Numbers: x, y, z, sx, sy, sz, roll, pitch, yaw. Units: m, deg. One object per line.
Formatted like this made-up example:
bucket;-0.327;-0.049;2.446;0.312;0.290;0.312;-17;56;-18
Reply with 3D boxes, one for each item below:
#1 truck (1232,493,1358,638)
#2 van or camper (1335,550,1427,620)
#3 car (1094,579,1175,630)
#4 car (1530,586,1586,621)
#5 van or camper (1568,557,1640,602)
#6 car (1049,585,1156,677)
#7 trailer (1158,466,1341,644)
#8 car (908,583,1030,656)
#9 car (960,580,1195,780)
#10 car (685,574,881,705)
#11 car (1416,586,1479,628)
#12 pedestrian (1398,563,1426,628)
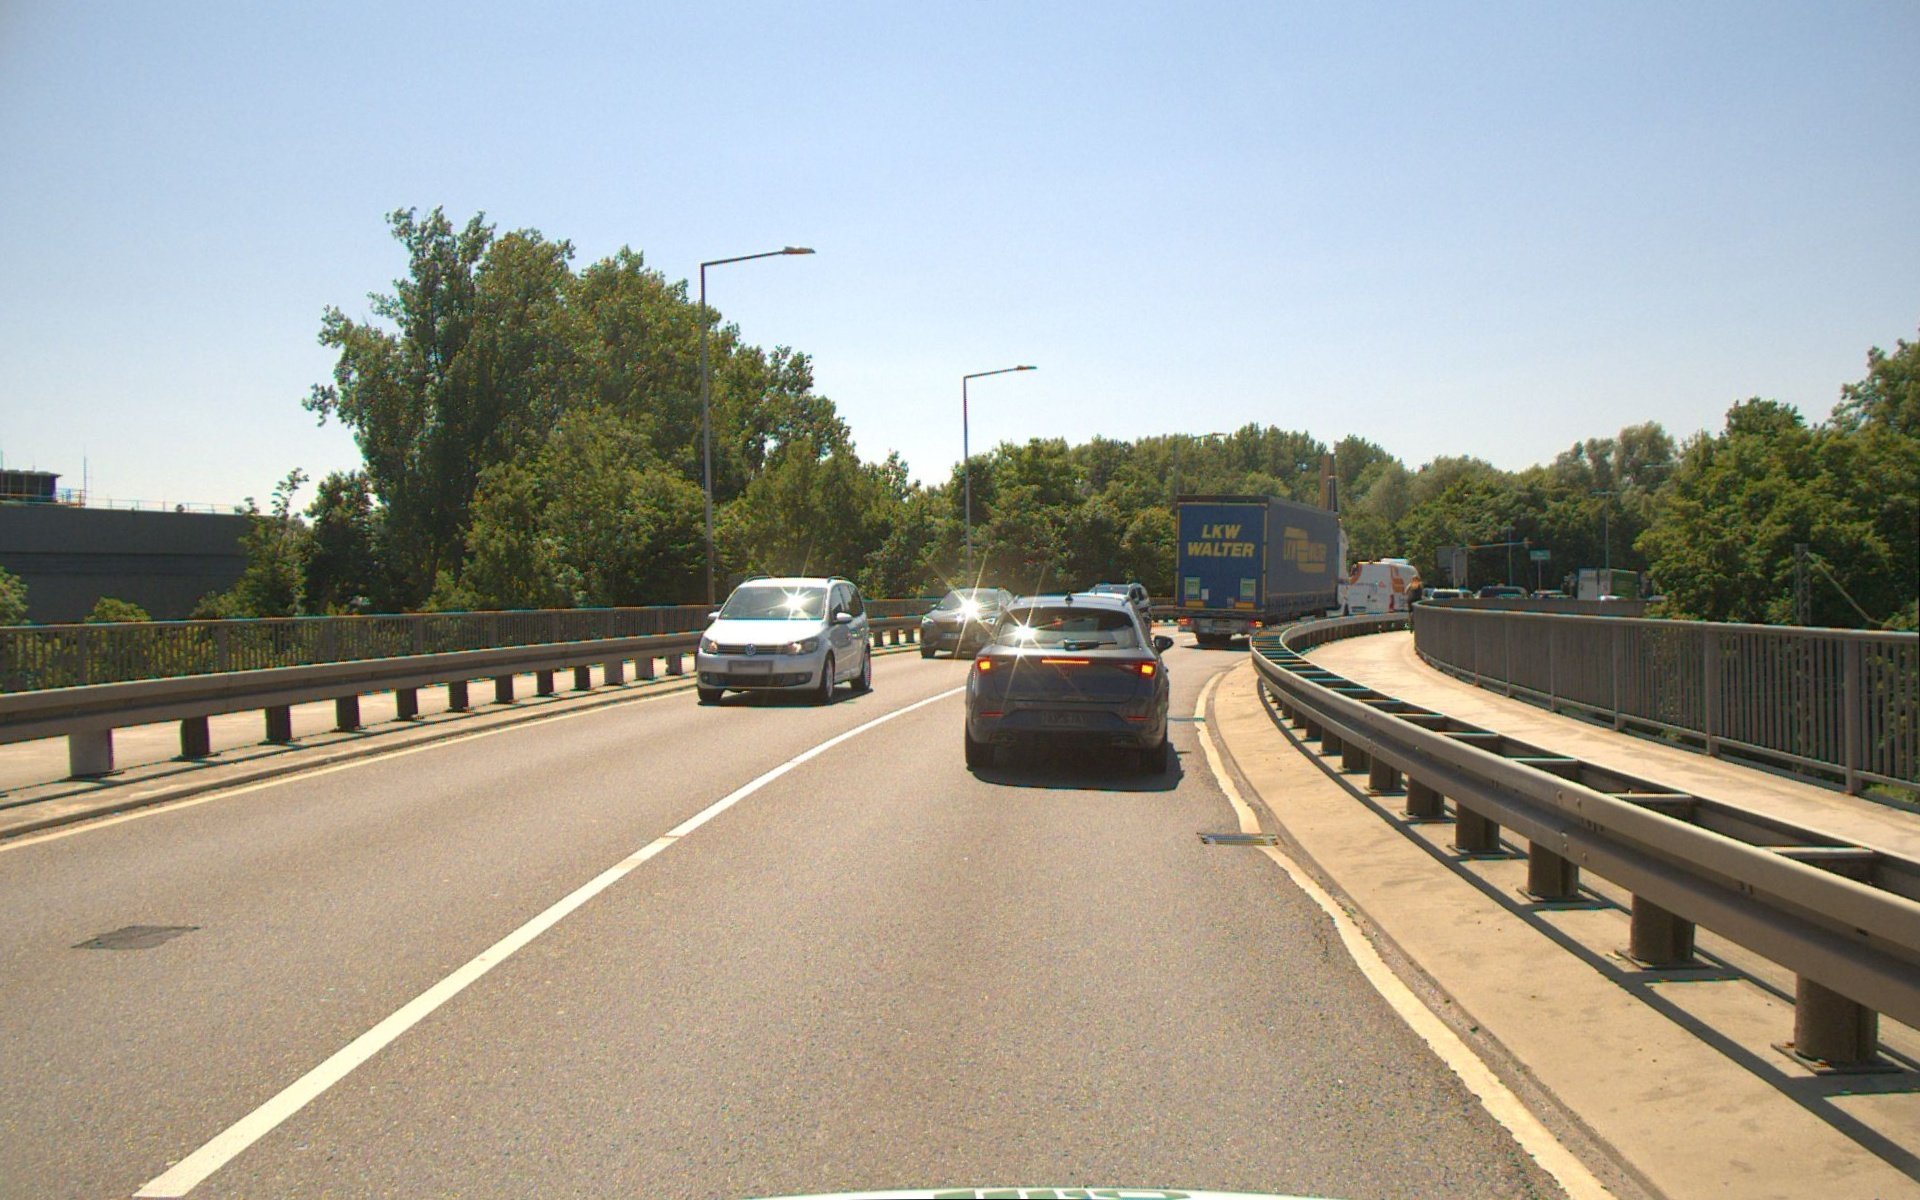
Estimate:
truck;11.688;-1.104;57.172;3.104;4.665;7.397;1;0;20
van or camper;17.466;-0.648;68.408;2.162;2.758;5.915;1;1;30
car;5.791;0.158;54.504;1.866;1.617;4.002;0;0;17
car;33.943;0.207;93.859;1.858;1.882;3.982;1;0;38
van or camper;42.082;-1.309;108.045;2.452;2.331;4.925;8;1;44
car;2.588;0.520;29.409;1.559;1.486;3.548;1;0;10
trailer;9.114;-1.183;50.331;3.069;4.694;12.949;1;0;21
car;0.276;0.405;36.922;1.846;1.523;4.319;0;0;13
car;0.976;0.602;14.788;1.807;1.525;3.759;1;1;2
car;-2.338;0.489;22.860;1.679;1.643;4.122;0;0;9
car;22.842;0.334;77.419;1.854;1.882;3.990;1;0;32
pedestrian;14.075;-0.126;51.495;0.722;2.002;0.734;1;0;22
